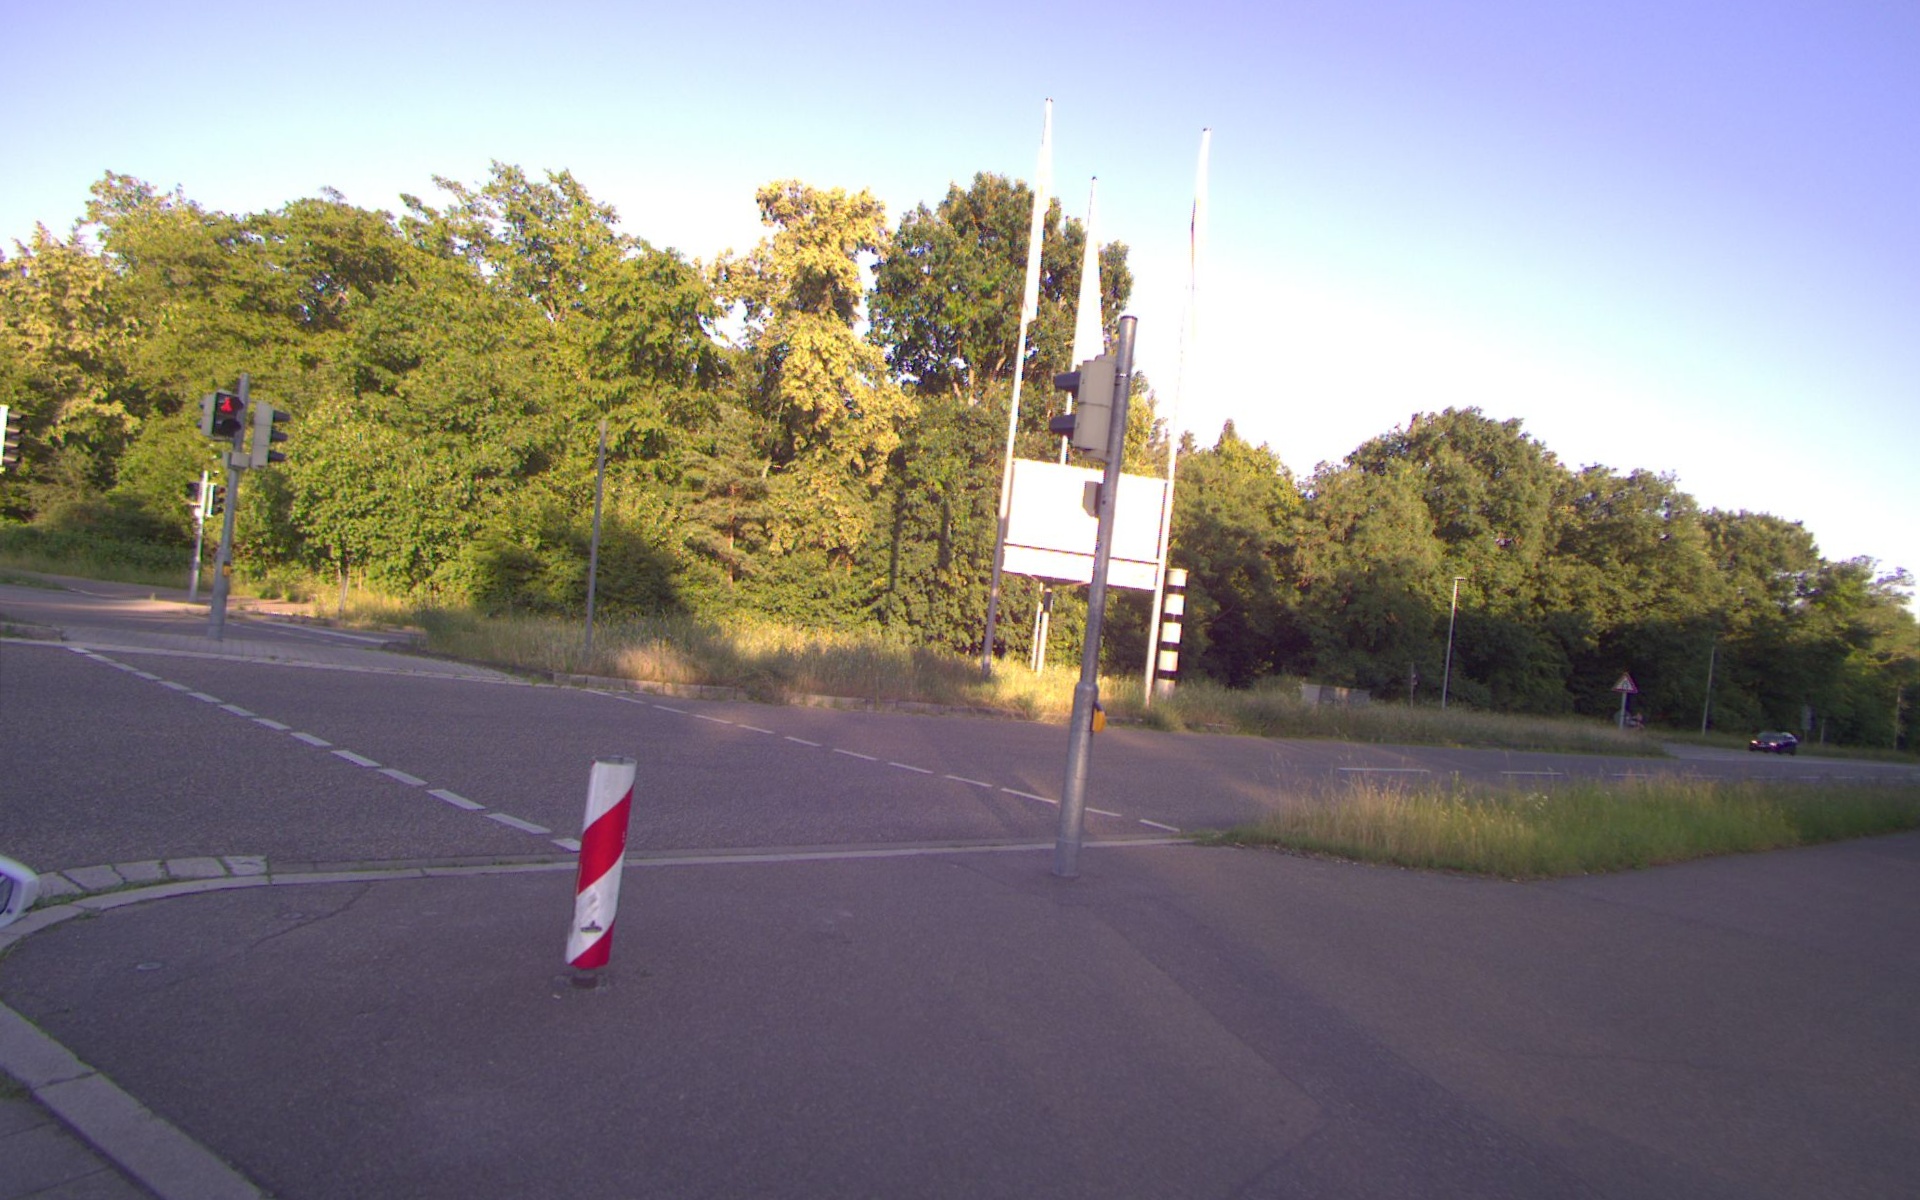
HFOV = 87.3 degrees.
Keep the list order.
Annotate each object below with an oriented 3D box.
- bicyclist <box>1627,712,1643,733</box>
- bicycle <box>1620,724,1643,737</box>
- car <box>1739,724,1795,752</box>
[{"bbox_3d":[49.683,9.037,74.014,0.813,1.446,0.583,7,-1,-28],"label":"bicyclist"},{"bbox_3d":[49.290,9.584,73.843,1.936,0.814,0.583,8,-2,-29],"label":"bicycle"},{"bbox_3d":[55.332,9.484,68.947,4.414,1.551,1.810,8,-4,-35],"label":"car"}]
